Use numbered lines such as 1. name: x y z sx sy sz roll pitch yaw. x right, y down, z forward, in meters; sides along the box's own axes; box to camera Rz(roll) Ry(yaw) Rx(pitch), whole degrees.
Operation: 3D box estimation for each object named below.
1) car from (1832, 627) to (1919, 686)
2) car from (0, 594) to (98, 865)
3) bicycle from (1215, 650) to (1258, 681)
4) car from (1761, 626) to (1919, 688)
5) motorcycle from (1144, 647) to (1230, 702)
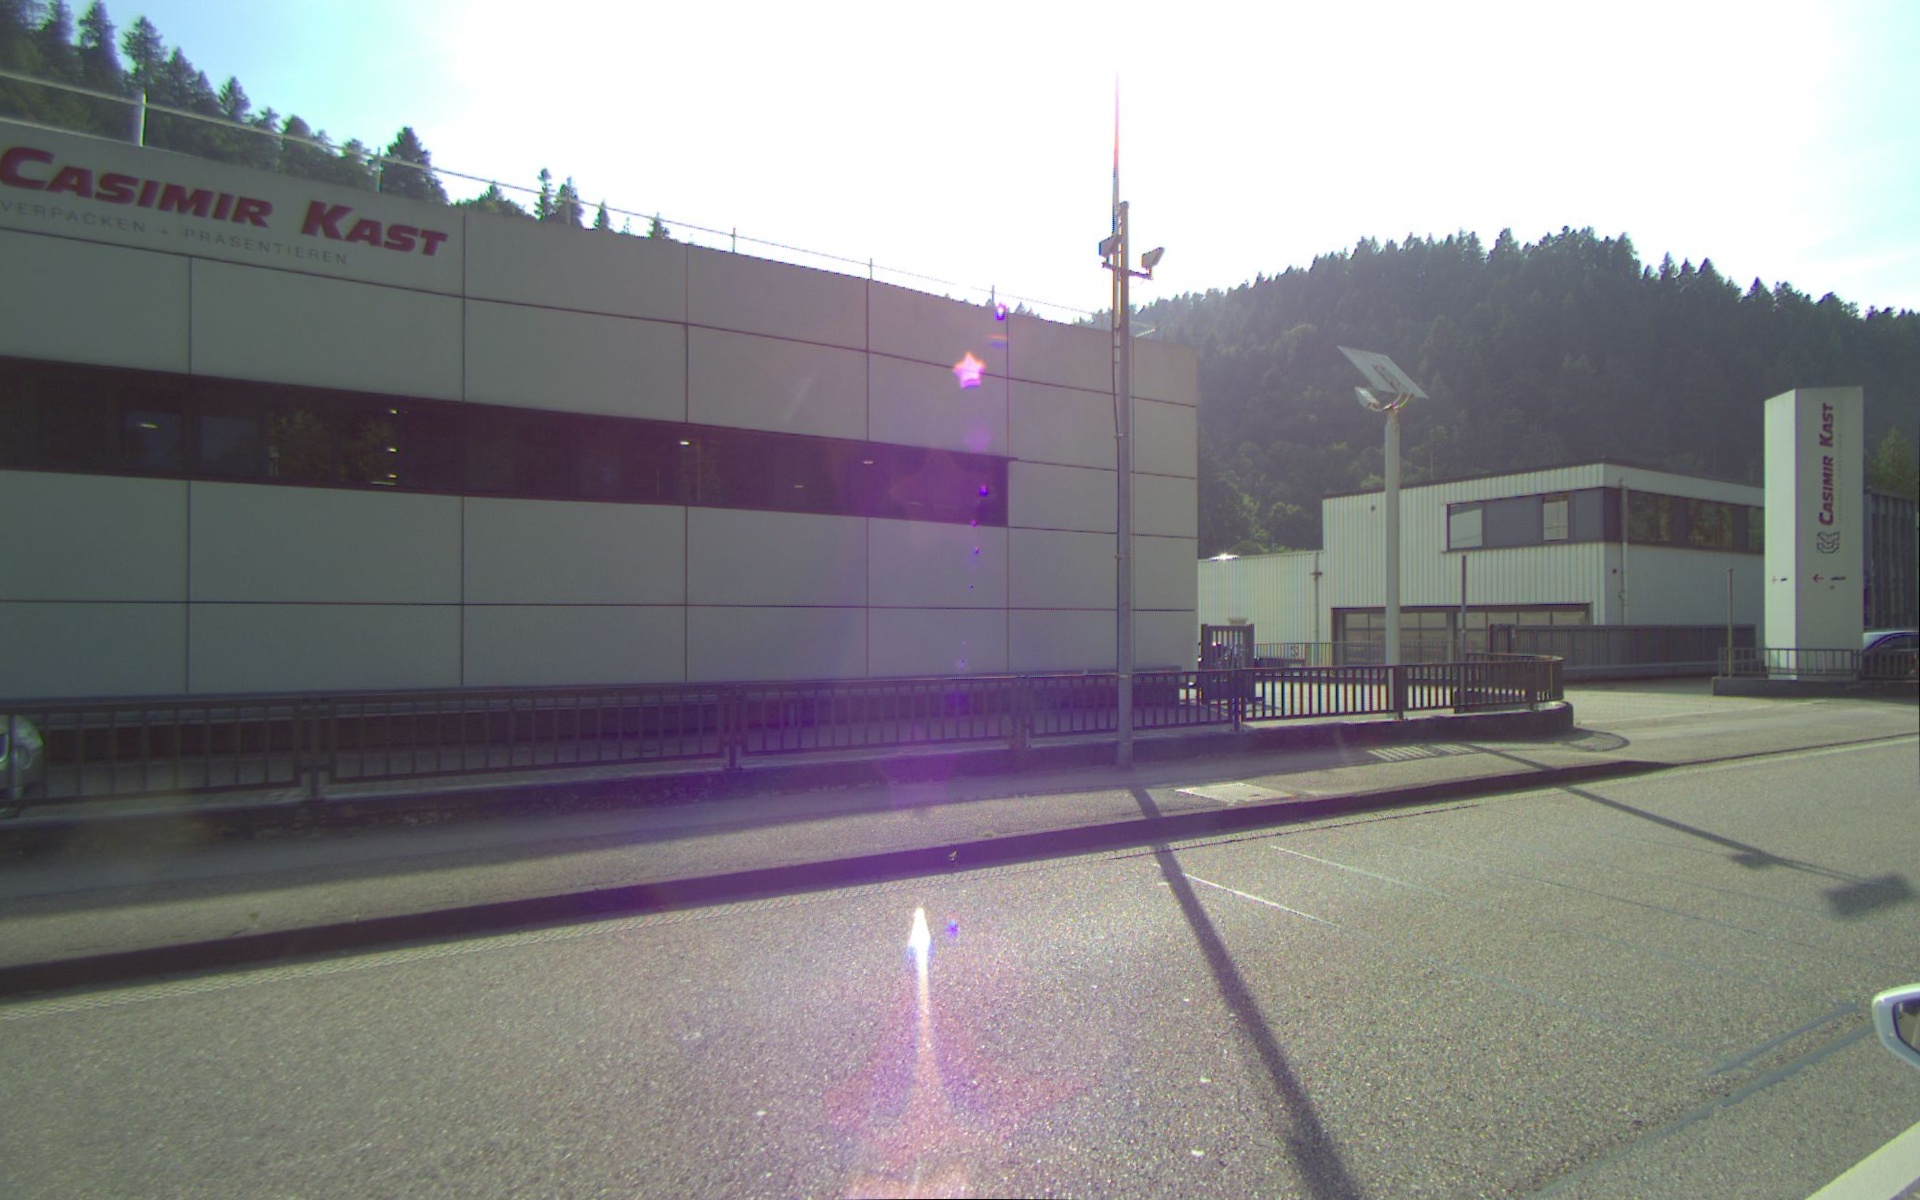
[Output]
1. car: 25.404 1.416 25.748 4.641 1.458 1.712 0 -1 0
2. car: -8.170 0.809 6.534 4.027 1.731 1.783 0 -1 12
3. bicycle: 9.054 2.136 32.948 0.283 0.990 1.671 1 -2 -29
4. car: 21.795 1.308 23.578 4.641 1.393 1.712 0 -1 0
5. motorcycle: 5.062 1.632 22.303 2.064 1.167 0.510 1 -2 -30
